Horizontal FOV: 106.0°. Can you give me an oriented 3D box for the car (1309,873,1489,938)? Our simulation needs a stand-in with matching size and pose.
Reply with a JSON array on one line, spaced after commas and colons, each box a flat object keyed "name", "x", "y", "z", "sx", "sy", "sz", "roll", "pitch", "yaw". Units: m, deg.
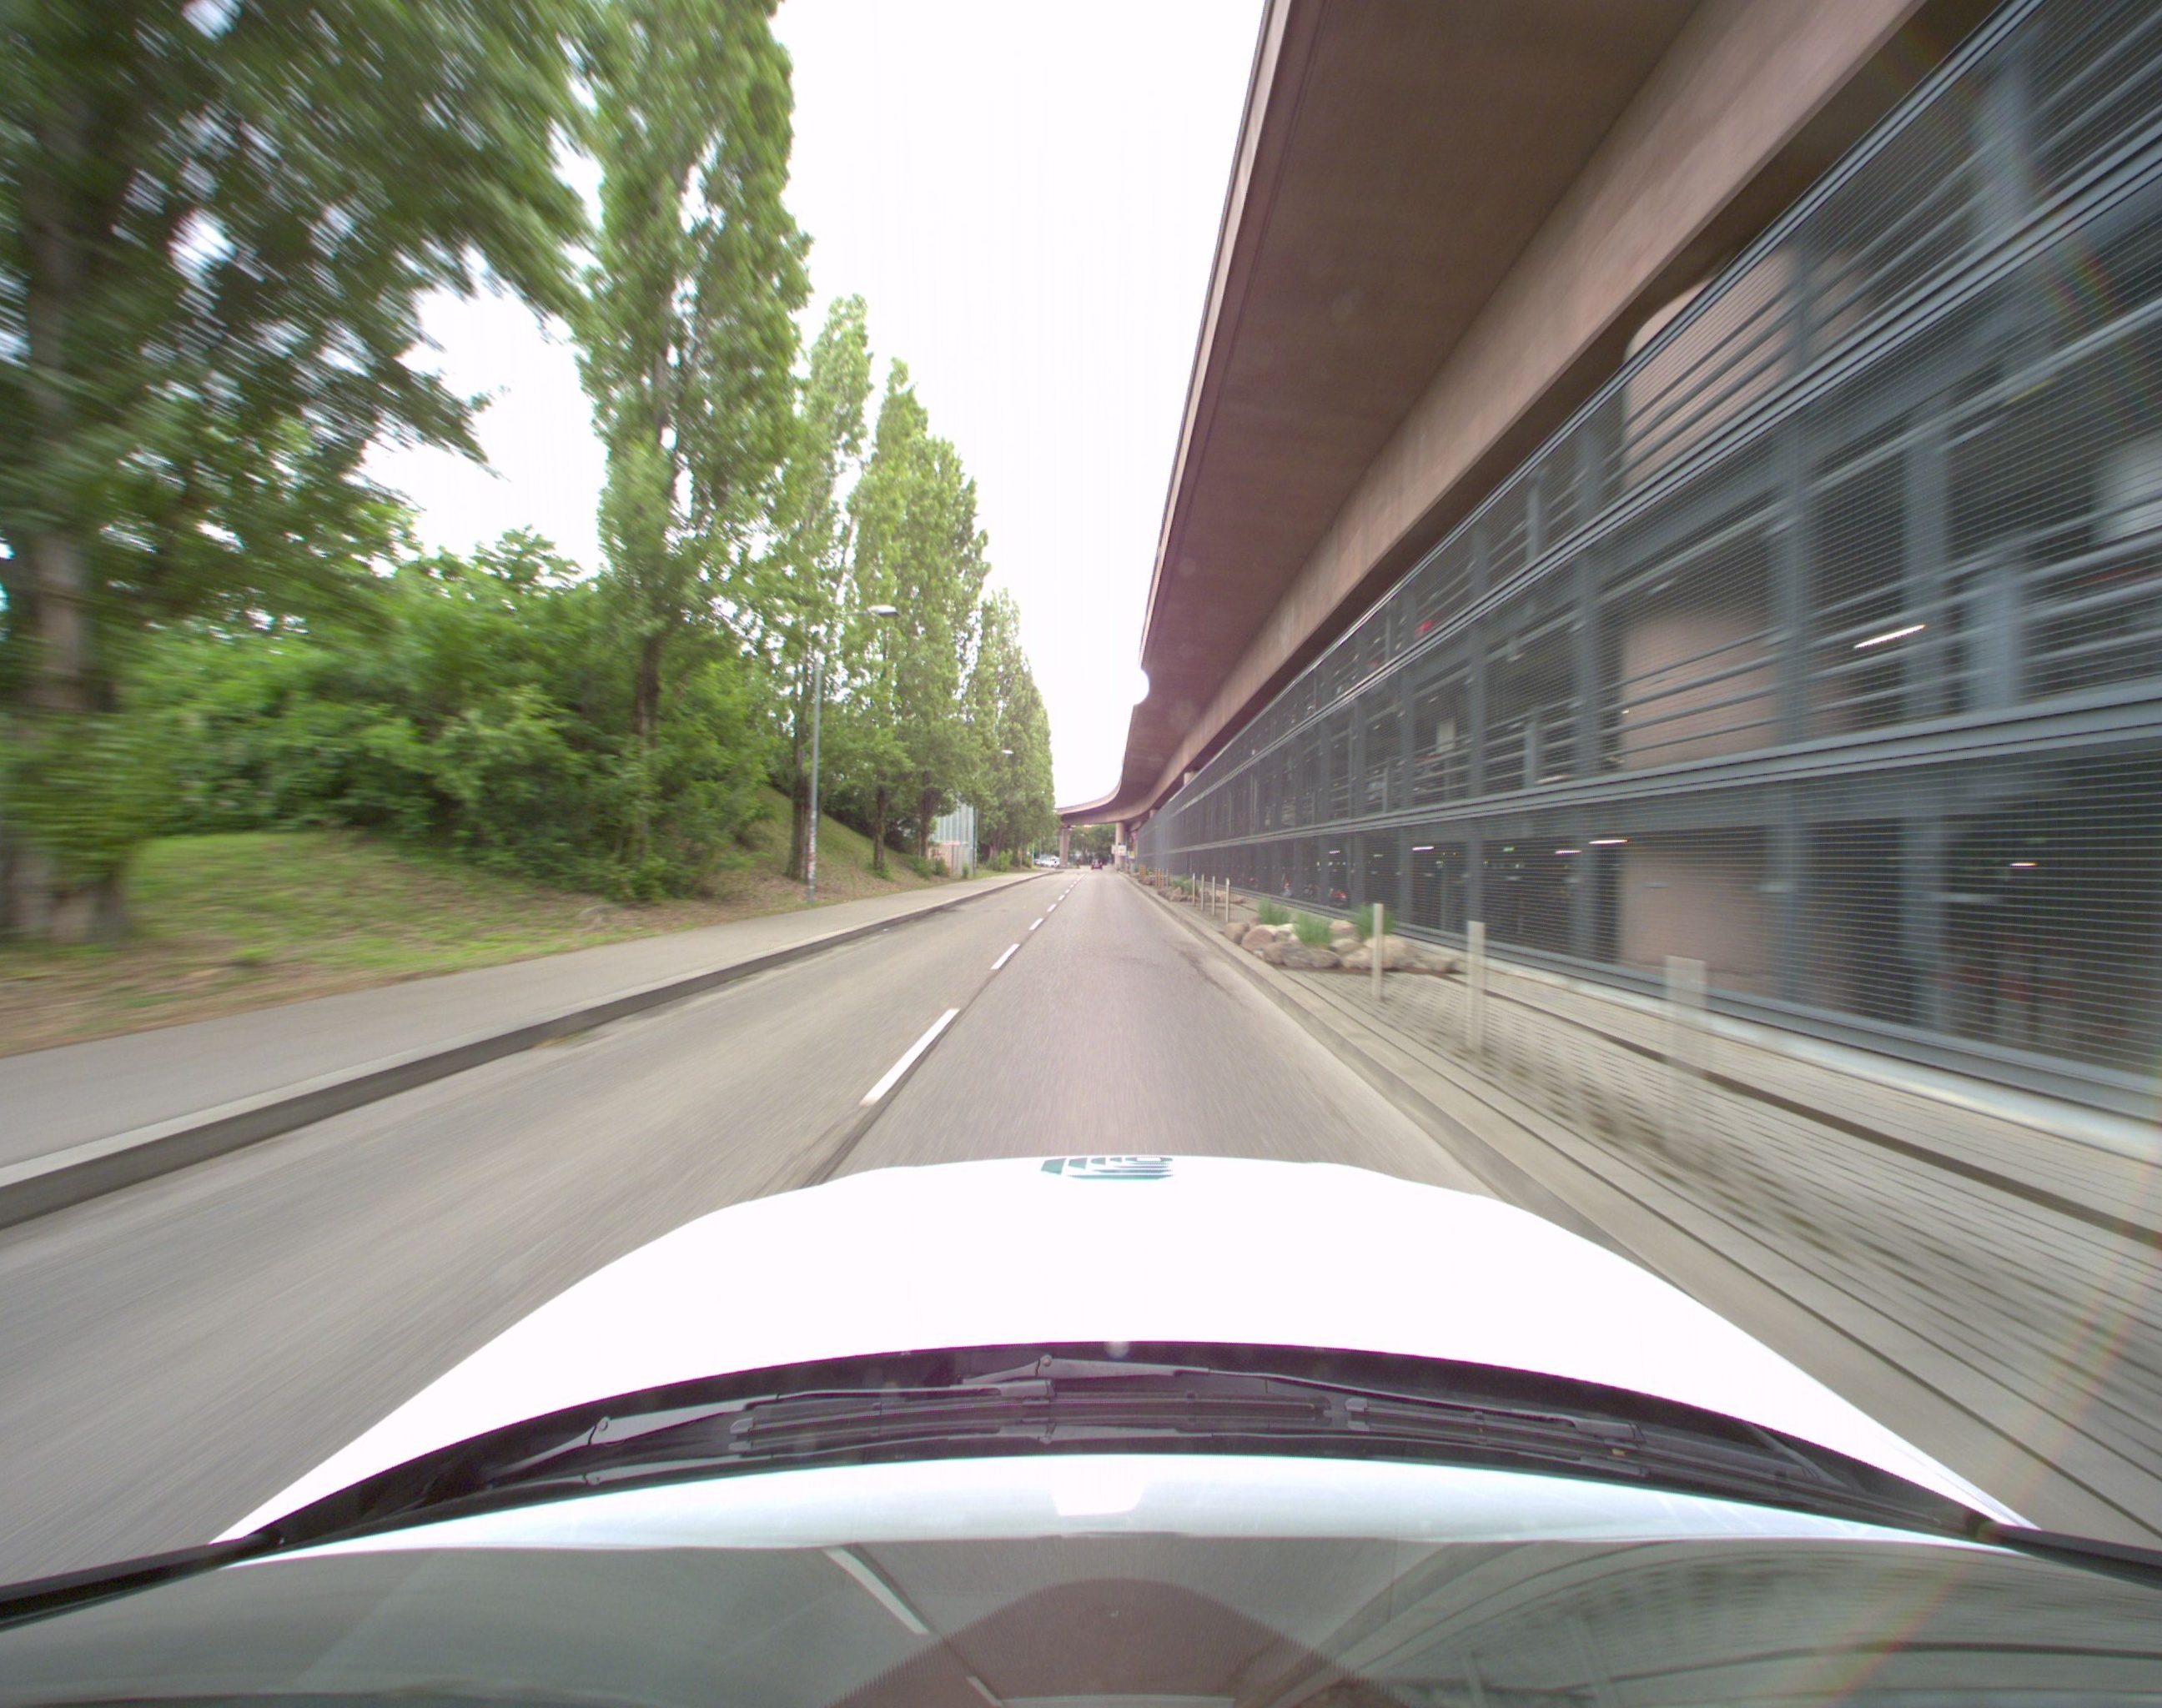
[{"name": "car", "x": 8.136, "y": 1.296, "z": 21.099, "sx": 3.973, "sy": 1.466, "sz": 1.811, "roll": 1, "pitch": 0, "yaw": 1}]

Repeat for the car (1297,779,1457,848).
[{"name": "car", "x": 8.386, "y": -1.137, "z": 23.310, "sx": 3.972, "sy": 1.867, "sz": 1.732, "roll": 1, "pitch": 1, "yaw": 2}]

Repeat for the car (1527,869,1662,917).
[{"name": "car", "x": 19.255, "y": 1.451, "z": 30.648, "sx": 3.971, "sy": 1.615, "sz": 1.723, "roll": 1, "pitch": 0, "yaw": 2}]

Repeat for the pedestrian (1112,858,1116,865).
[{"name": "pedestrian", "x": 8.941, "y": 2.145, "z": 221.596, "sx": 0.774, "sy": 1.876, "sz": 0.817, "roll": 0, "pitch": 1, "yaw": -30}]

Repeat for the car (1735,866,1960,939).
[{"name": "car", "x": 18.973, "y": 1.166, "z": 20.295, "sx": 3.973, "sy": 1.615, "sz": 1.722, "roll": 1, "pitch": 0, "yaw": 1}]

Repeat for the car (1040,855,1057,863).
[{"name": "car", "x": -8.153, "y": 1.185, "z": 204.340, "sx": 4.200, "sy": 2.014, "sz": 1.999, "roll": 1, "pitch": -1, "yaw": -1}]

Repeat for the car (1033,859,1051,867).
[{"name": "car", "x": -8.640, "y": 2.010, "z": 179.776, "sx": 1.704, "sy": 1.716, "sz": 3.695, "roll": 1, "pitch": 1, "yaw": 42}]

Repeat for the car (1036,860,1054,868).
[{"name": "car", "x": -7.787, "y": 2.151, "z": 176.210, "sx": 1.704, "sy": 1.716, "sz": 3.695, "roll": 1, "pitch": 1, "yaw": 42}]

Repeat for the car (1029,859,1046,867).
[{"name": "car", "x": -9.828, "y": 1.948, "z": 183.057, "sx": 1.785, "sy": 1.716, "sz": 3.695, "roll": 1, "pitch": 1, "yaw": 42}]

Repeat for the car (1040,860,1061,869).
[{"name": "car", "x": -6.450, "y": 2.238, "z": 172.174, "sx": 1.862, "sy": 1.716, "sz": 4.178, "roll": 1, "pitch": 1, "yaw": 42}]

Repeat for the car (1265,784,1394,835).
[{"name": "car", "x": 8.517, "y": -1.504, "z": 28.194, "sx": 3.970, "sy": 1.657, "sz": 1.833, "roll": 1, "pitch": 1, "yaw": 3}]

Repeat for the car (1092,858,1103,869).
[{"name": "car", "x": 2.803, "y": 1.650, "z": 138.079, "sx": 1.833, "sy": 1.711, "sz": 3.707, "roll": 1, "pitch": 1, "yaw": 1}]
